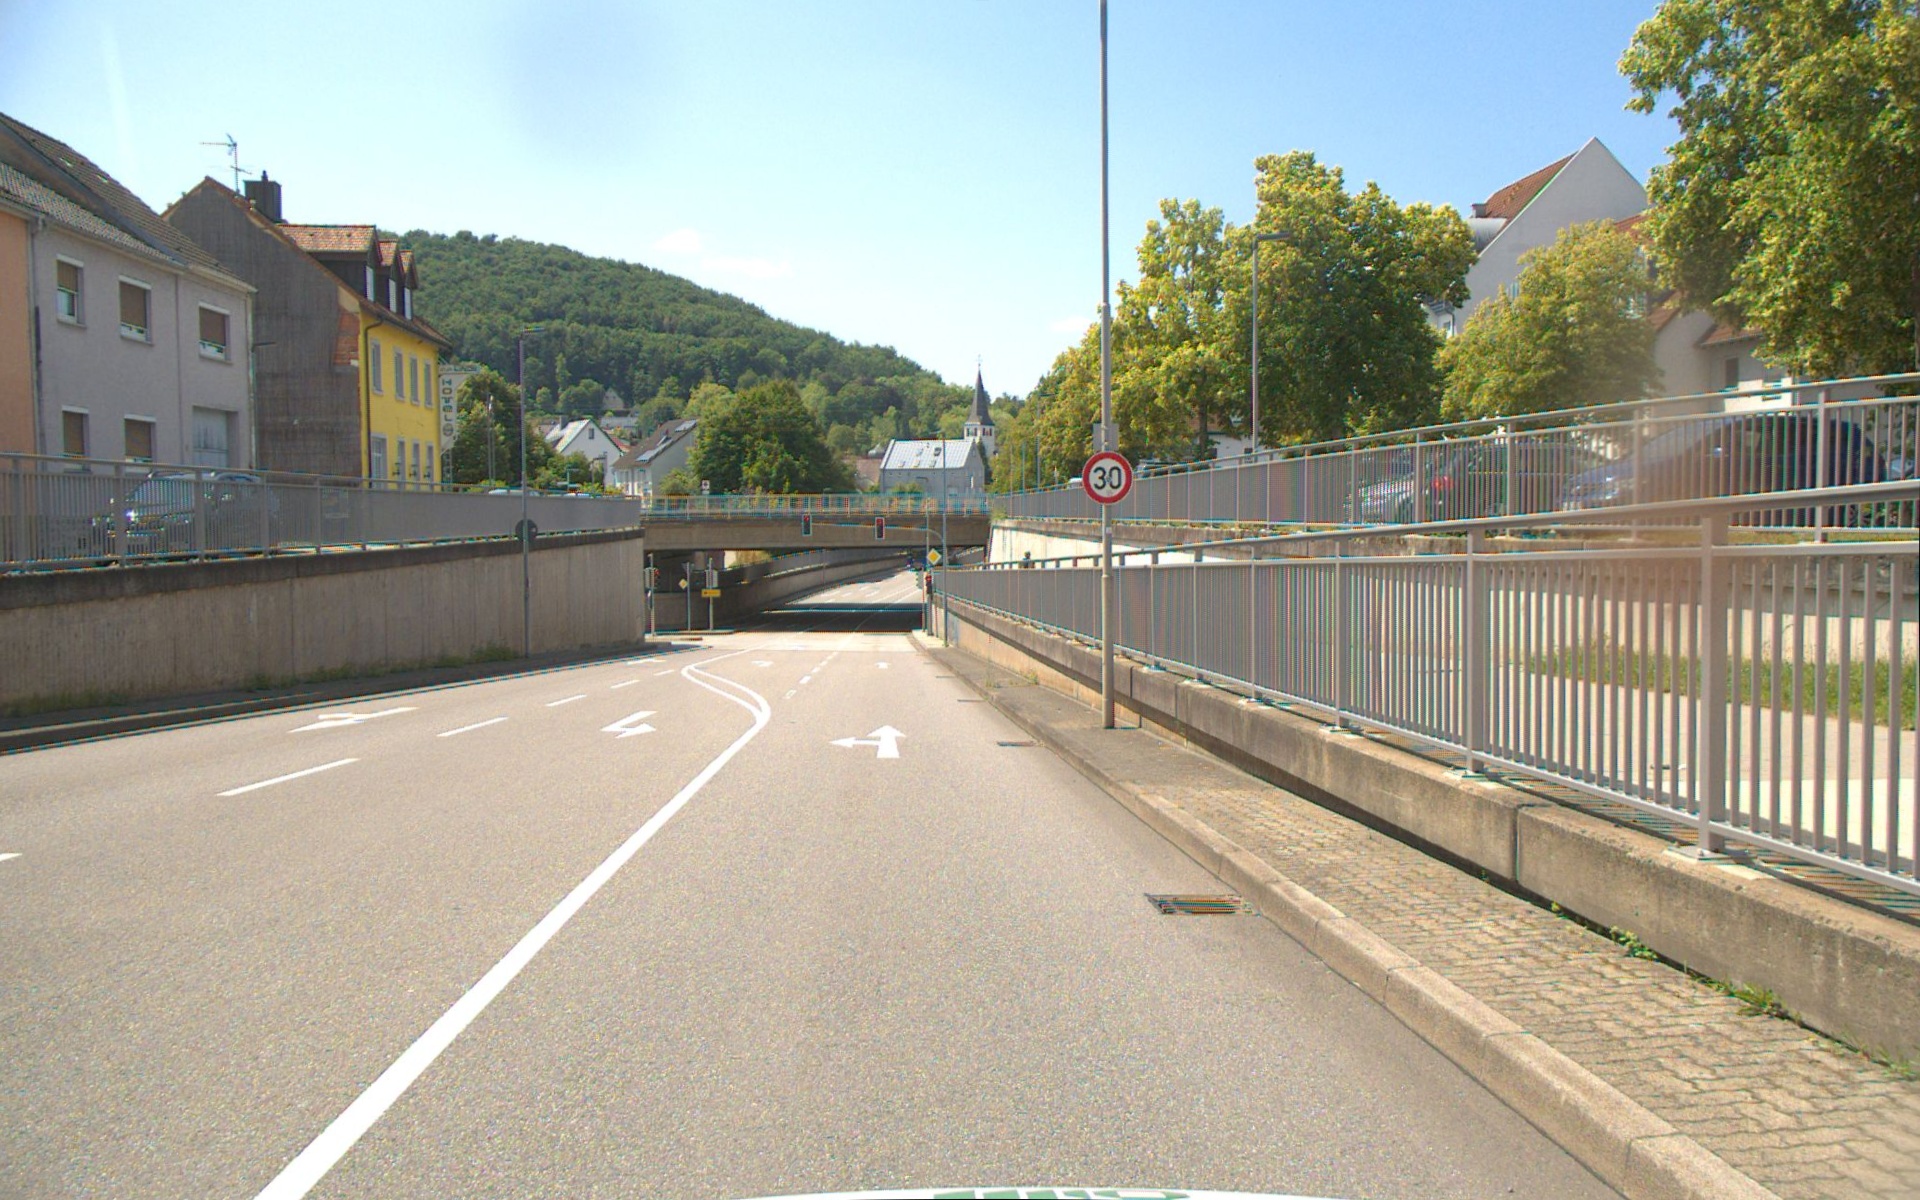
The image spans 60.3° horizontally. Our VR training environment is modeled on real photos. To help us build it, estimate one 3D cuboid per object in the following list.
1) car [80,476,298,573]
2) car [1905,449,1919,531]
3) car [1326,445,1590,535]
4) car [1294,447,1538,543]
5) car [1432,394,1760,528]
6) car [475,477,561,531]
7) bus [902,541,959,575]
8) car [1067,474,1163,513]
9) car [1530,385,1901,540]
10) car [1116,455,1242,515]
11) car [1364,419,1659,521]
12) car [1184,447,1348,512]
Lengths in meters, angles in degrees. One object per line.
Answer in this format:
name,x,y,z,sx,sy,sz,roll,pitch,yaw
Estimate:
car,-12.294,-1.198,26.693,1.750,1.430,4.390,0,2,-5
car,19.865,-2.048,29.960,4.395,1.504,2.000,-2,3,-3
car,8.304,-1.828,27.790,3.905,1.452,1.725,0,2,-1
car,8.096,-1.851,29.577,3.905,1.583,1.724,0,0,-1
car,8.883,-1.930,23.266,3.911,1.660,1.770,-2,1,-6
car,-13.395,-2.874,50.327,1.763,1.551,4.390,0,2,-5
bus,-2.847,-4.275,164.474,2.526,3.227,12.389,0,2,14
car,6.529,-4.507,69.882,3.905,1.512,1.770,0,0,0
car,9.434,-1.661,20.772,3.917,1.658,1.857,1,0,-12
car,7.164,-3.761,54.338,3.905,1.801,1.770,0,0,0
car,8.405,-1.981,25.430,3.907,1.329,1.772,-2,1,-3
car,7.828,-3.079,42.599,3.905,1.512,1.770,0,0,0
